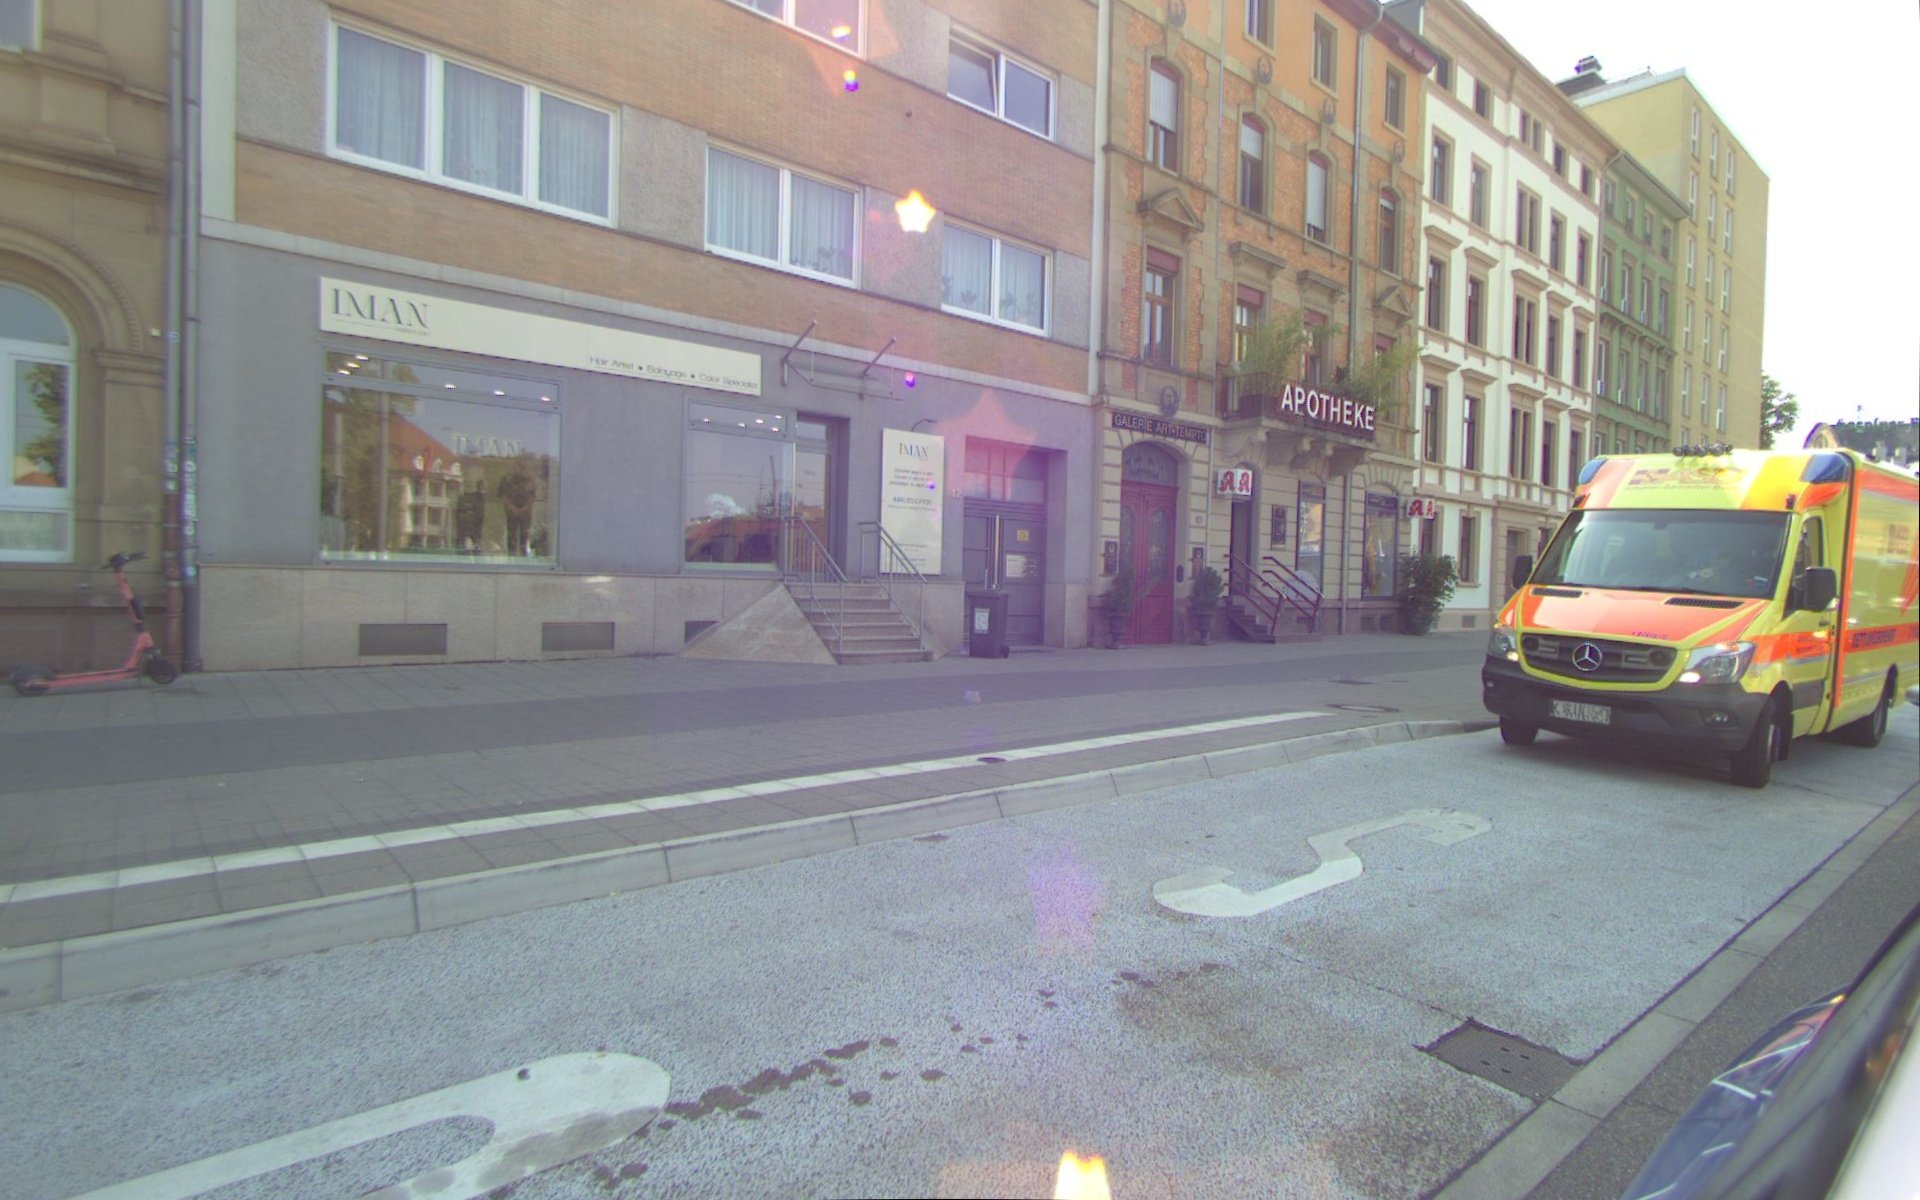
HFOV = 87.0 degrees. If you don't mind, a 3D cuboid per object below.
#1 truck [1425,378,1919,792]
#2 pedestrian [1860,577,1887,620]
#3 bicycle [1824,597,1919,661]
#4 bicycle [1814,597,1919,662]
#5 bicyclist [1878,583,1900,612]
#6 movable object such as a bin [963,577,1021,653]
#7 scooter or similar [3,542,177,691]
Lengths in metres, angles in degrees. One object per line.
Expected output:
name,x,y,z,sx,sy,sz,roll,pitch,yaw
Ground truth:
truck,7.256,-0.177,9.659,6.221,2.803,2.336,0,4,-37
pedestrian,36.139,-0.061,40.045,0.783,1.648,0.645,0,2,-42
bicycle,18.667,0.565,20.411,0.427,1.235,1.841,1,0,-39
bicycle,17.983,0.564,19.853,0.427,1.219,1.841,1,0,-39
bicyclist,52.061,-0.140,56.709,1.083,1.606,0.721,1,1,-40
movable object such as a bin,0.501,0.217,15.656,0.640,1.118,0.723,3,2,24
scooter or similar,-7.641,0.124,8.907,0.476,1.227,1.124,3,2,44
